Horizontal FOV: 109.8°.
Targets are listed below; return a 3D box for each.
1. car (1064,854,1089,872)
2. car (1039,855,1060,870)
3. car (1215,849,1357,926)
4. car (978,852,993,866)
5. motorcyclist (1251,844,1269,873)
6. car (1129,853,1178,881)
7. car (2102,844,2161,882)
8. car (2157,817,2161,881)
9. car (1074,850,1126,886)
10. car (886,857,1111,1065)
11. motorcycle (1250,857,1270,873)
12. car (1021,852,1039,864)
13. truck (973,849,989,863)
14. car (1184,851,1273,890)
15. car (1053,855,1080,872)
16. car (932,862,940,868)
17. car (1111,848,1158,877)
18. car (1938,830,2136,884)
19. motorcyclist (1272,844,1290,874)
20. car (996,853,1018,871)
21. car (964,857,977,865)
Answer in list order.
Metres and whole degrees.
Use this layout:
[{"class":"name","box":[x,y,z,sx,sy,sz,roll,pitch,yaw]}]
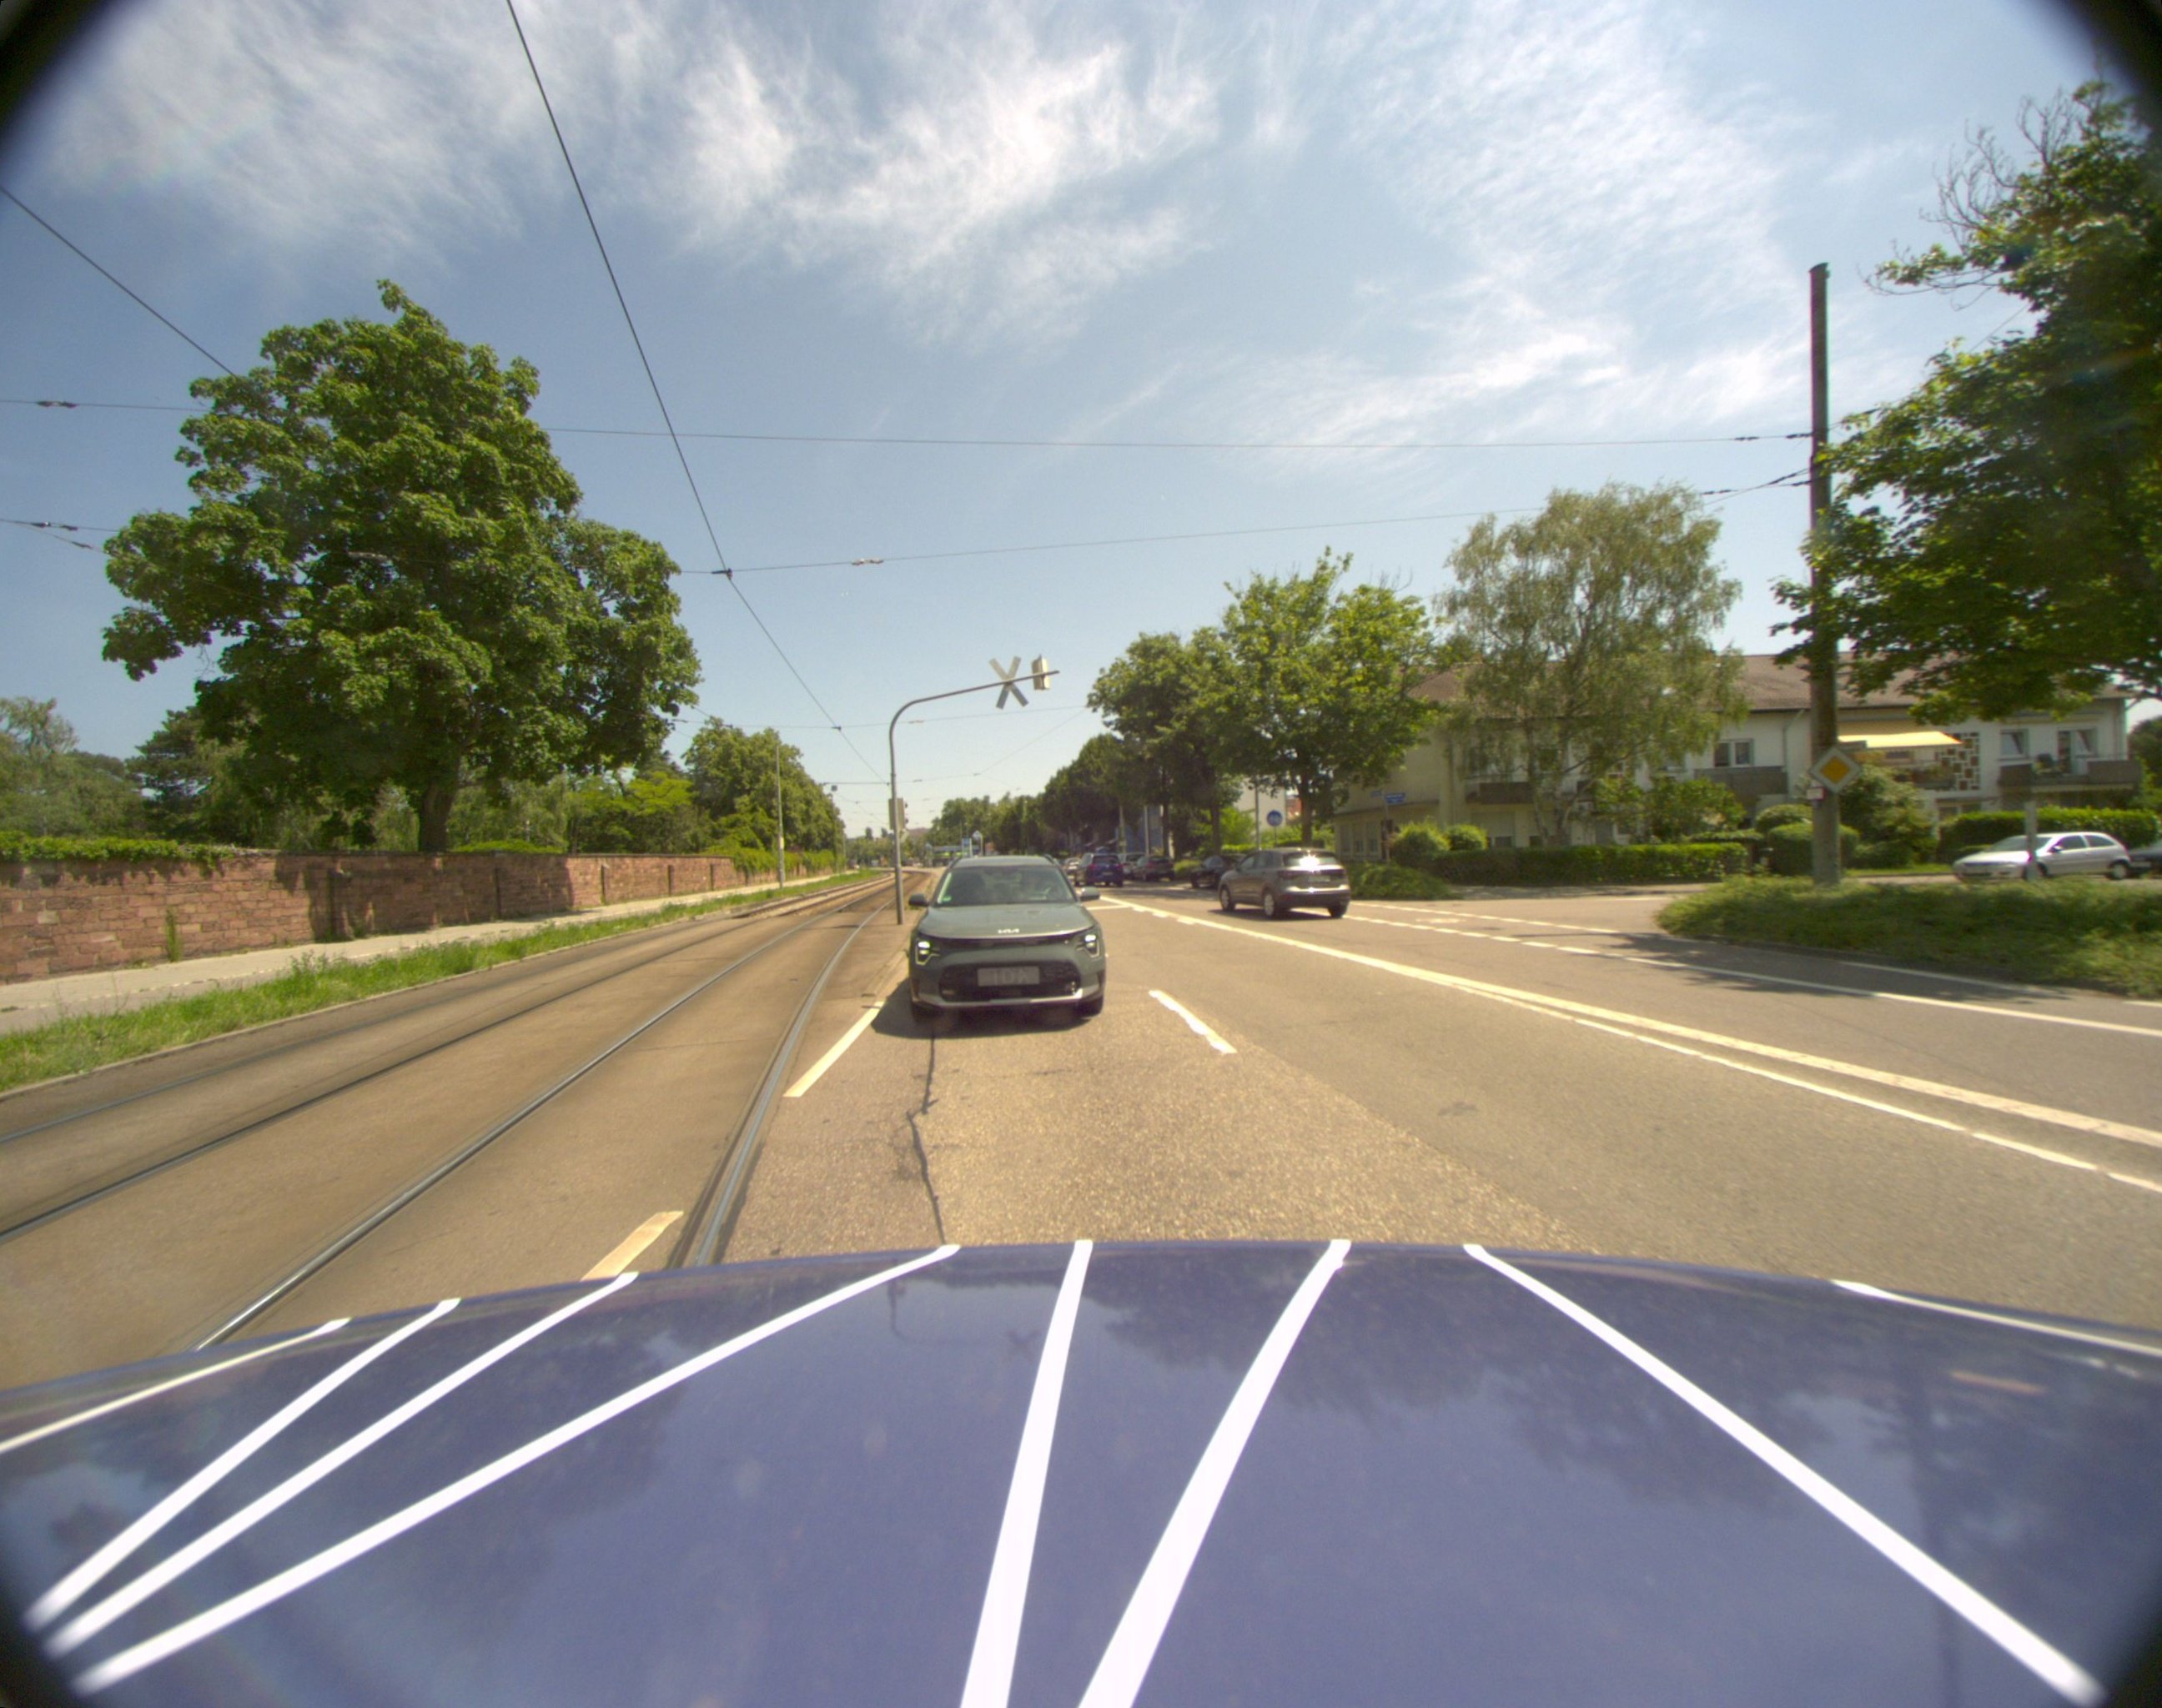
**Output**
[{"class":"car","box":[-0.450,0.810,70.291,1.506,1.487,3.279,-7,1,-12]},{"class":"car","box":[-3.591,0.923,85.904,1.657,1.487,3.646,-6,1,-12]},{"class":"car","box":[4.626,0.686,17.695,1.743,1.566,3.709,-1,0,-10]},{"class":"car","box":[-13.821,0.738,109.754,1.925,1.899,4.566,-1,0,-11]},{"class":"motorcyclist","box":[9.729,0.238,41.250,0.588,1.494,0.724,-5,1,-9]},{"class":"car","box":[4.129,0.718,44.180,1.681,1.478,4.124,-3,1,-11]},{"class":"car","box":[32.475,0.202,22.001,3.746,0.986,1.545,-3,0,-1]},{"class":"car","box":[30.733,-0.197,19.313,4.232,1.697,1.741,-2,0,1]},{"class":"car","box":[0.870,0.655,37.481,1.743,1.647,4.063,-1,0,-10]},{"class":"car","box":[-0.931,0.878,8.479,1.760,1.574,4.424,-3,0,-7]},{"class":"motorcycle","box":[9.739,0.583,41.347,0.527,0.821,1.370,-5,1,-9]},{"class":"car","box":[-6.869,0.549,102.339,1.657,1.487,4.078,-6,1,-12]},{"class":"truck","box":[-19.617,0.402,149.011,2.137,2.565,4.856,-2,0,-19]},{"class":"car","box":[6.225,0.675,32.631,1.901,1.448,4.804,-3,0,-13]},{"class":"car","box":[-1.509,0.900,75.490,1.681,1.487,4.634,-6,1,-12]},{"class":"car","box":[-40.808,3.058,213.639,1.866,1.487,3.467,-6,1,-12]},{"class":"car","box":[3.404,0.538,49.677,1.977,1.679,4.683,-3,1,-9]},{"class":"car","box":[27.766,0.088,22.143,3.905,1.385,1.545,-2,0,-2]},{"class":"motorcyclist","box":[10.161,0.258,38.603,0.588,1.494,0.661,-5,1,-9]},{"class":"car","box":[-8.288,0.886,84.396,1.905,1.914,4.814,0,0,-12]},{"class":"car","box":[-23.270,1.489,160.111,1.867,1.487,3.465,-6,1,-19]}]
